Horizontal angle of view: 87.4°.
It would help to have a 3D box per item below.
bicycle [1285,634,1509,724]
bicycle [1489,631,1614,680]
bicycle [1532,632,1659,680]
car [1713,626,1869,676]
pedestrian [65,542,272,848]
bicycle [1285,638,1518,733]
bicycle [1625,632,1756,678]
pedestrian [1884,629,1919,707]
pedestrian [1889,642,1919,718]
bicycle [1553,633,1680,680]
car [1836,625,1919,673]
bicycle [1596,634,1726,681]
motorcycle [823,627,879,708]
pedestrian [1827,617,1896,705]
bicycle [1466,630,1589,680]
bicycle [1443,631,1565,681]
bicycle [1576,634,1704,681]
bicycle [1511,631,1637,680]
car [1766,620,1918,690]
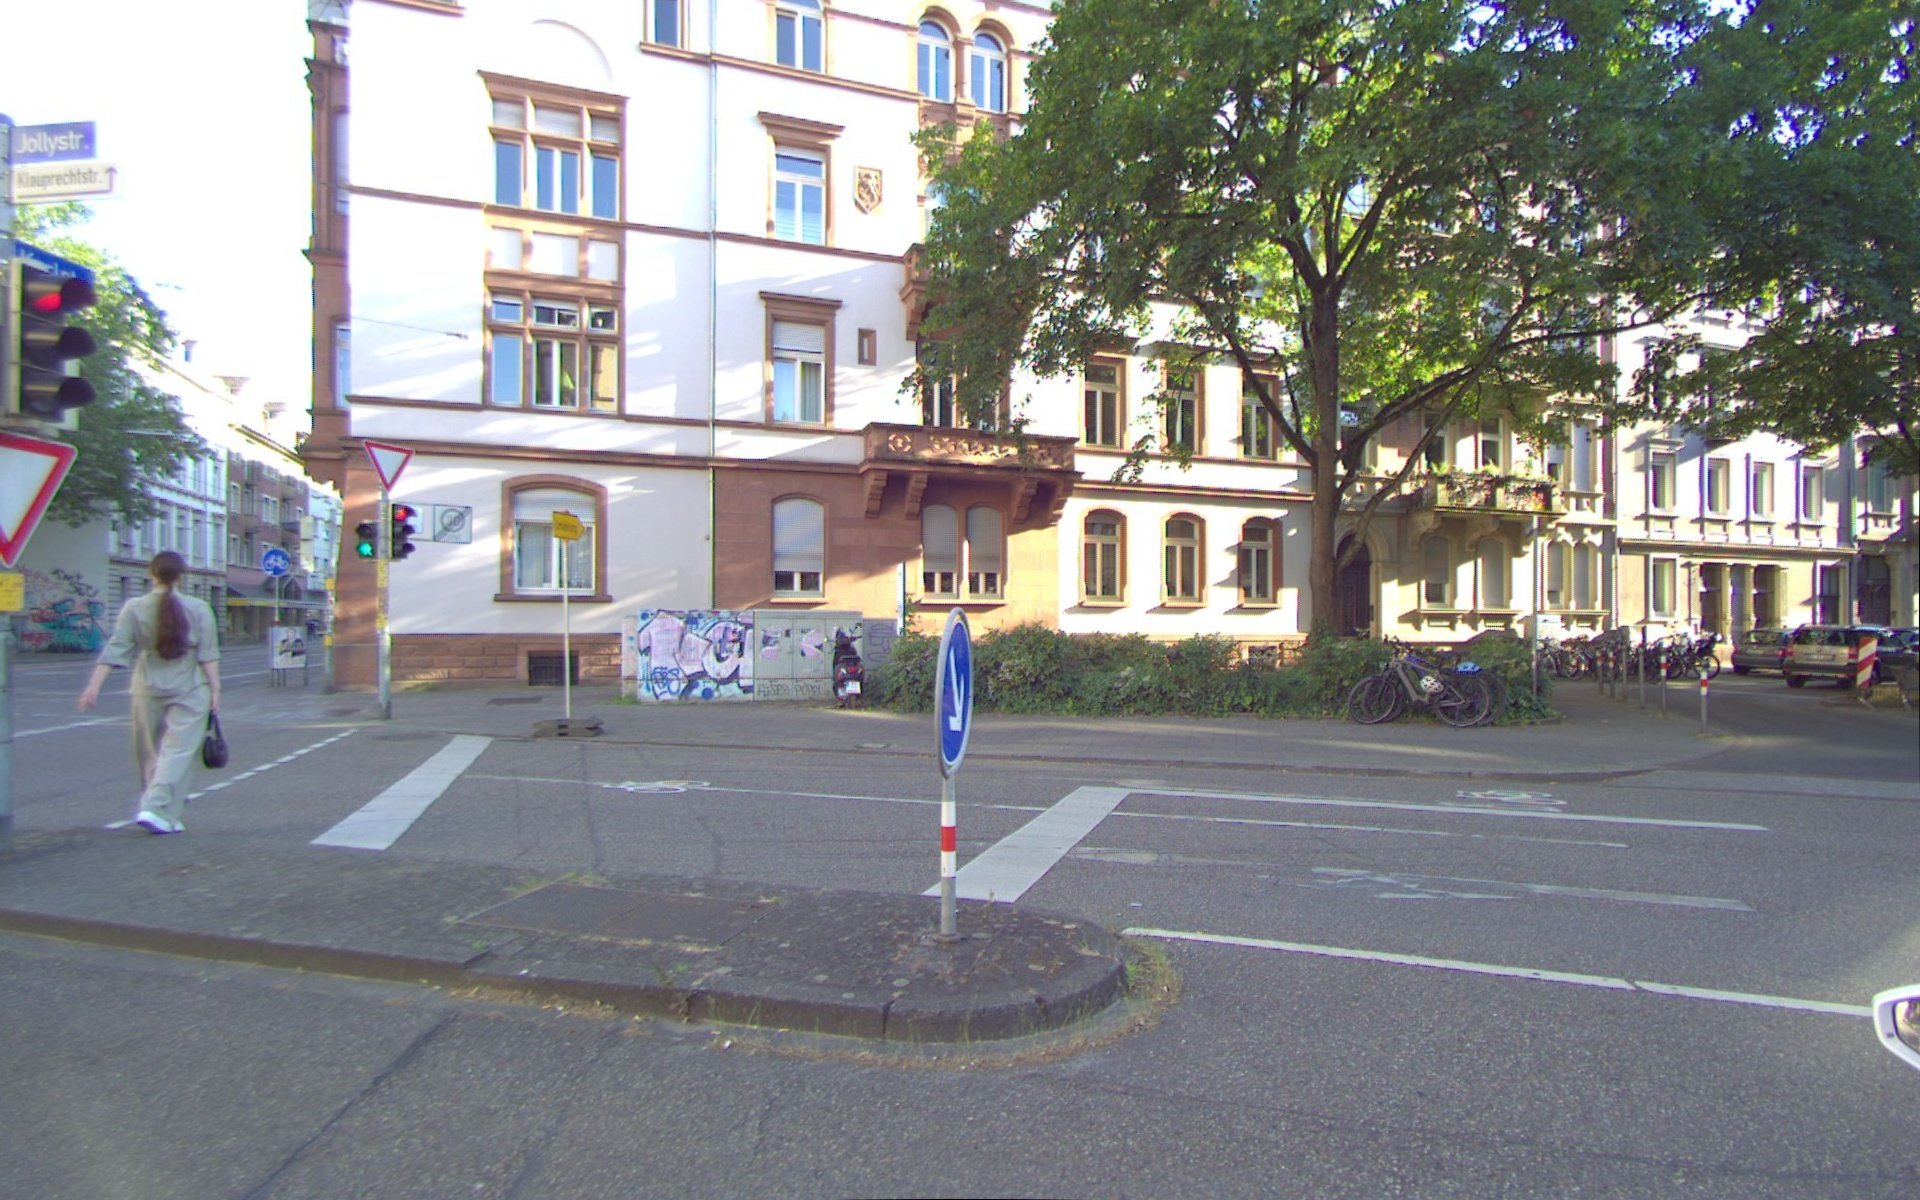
[{"bbox_3d":[6.210,1.102,14.442,2.900,1.212,0.548,0,-1,20],"label":"bicycle"},{"bbox_3d":[15.640,1.428,26.693,0.740,1.196,3.124,0,-1,-19],"label":"bicycle"},{"bbox_3d":[17.145,1.482,27.228,0.740,1.196,3.124,0,-1,-19],"label":"bicycle"},{"bbox_3d":[24.587,1.477,29.740,3.693,1.394,1.921,1,-1,-19],"label":"car"},{"bbox_3d":[-4.899,0.547,6.302,0.859,1.720,0.976,1,-1,-30],"label":"pedestrian"},{"bbox_3d":[6.018,1.148,13.878,2.900,1.212,0.548,0,-1,20],"label":"bicycle"},{"bbox_3d":[20.548,1.518,28.365,0.740,1.196,3.124,0,-1,-19],"label":"bicycle"},{"bbox_3d":[17.864,1.270,18.734,0.753,1.430,0.667,-2,-3,29],"label":"pedestrian"},{"bbox_3d":[17.323,1.443,18.192,0.561,1.337,0.504,-1,-1,26],"label":"pedestrian"},{"bbox_3d":[17.892,1.510,27.511,0.740,1.196,3.124,0,-1,-19],"label":"bicycle"},{"bbox_3d":[29.542,1.487,31.208,3.693,1.394,1.921,1,-1,-19],"label":"car"},{"bbox_3d":[19.472,1.568,28.030,0.740,1.196,3.124,0,-1,-19],"label":"bicycle"},{"bbox_3d":[-1.866,1.093,16.937,0.828,1.282,2.107,0,-1,-9],"label":"motorcycle"},{"bbox_3d":[17.843,1.201,19.899,0.751,1.691,0.668,-1,-3,14],"label":"pedestrian"},{"bbox_3d":[14.847,1.407,26.430,0.740,1.196,3.124,0,-1,-19],"label":"bicycle"},{"bbox_3d":[14.069,1.413,26.130,0.740,1.196,3.124,0,-1,-19],"label":"bicycle"},{"bbox_3d":[18.691,1.538,27.741,0.740,1.196,3.124,0,-1,-19],"label":"bicycle"},{"bbox_3d":[16.377,1.453,26.943,0.740,1.196,3.124,0,-1,-19],"label":"bicycle"},{"bbox_3d":[23.153,1.381,26.355,3.956,1.706,1.982,1,-2,-33],"label":"car"}]
